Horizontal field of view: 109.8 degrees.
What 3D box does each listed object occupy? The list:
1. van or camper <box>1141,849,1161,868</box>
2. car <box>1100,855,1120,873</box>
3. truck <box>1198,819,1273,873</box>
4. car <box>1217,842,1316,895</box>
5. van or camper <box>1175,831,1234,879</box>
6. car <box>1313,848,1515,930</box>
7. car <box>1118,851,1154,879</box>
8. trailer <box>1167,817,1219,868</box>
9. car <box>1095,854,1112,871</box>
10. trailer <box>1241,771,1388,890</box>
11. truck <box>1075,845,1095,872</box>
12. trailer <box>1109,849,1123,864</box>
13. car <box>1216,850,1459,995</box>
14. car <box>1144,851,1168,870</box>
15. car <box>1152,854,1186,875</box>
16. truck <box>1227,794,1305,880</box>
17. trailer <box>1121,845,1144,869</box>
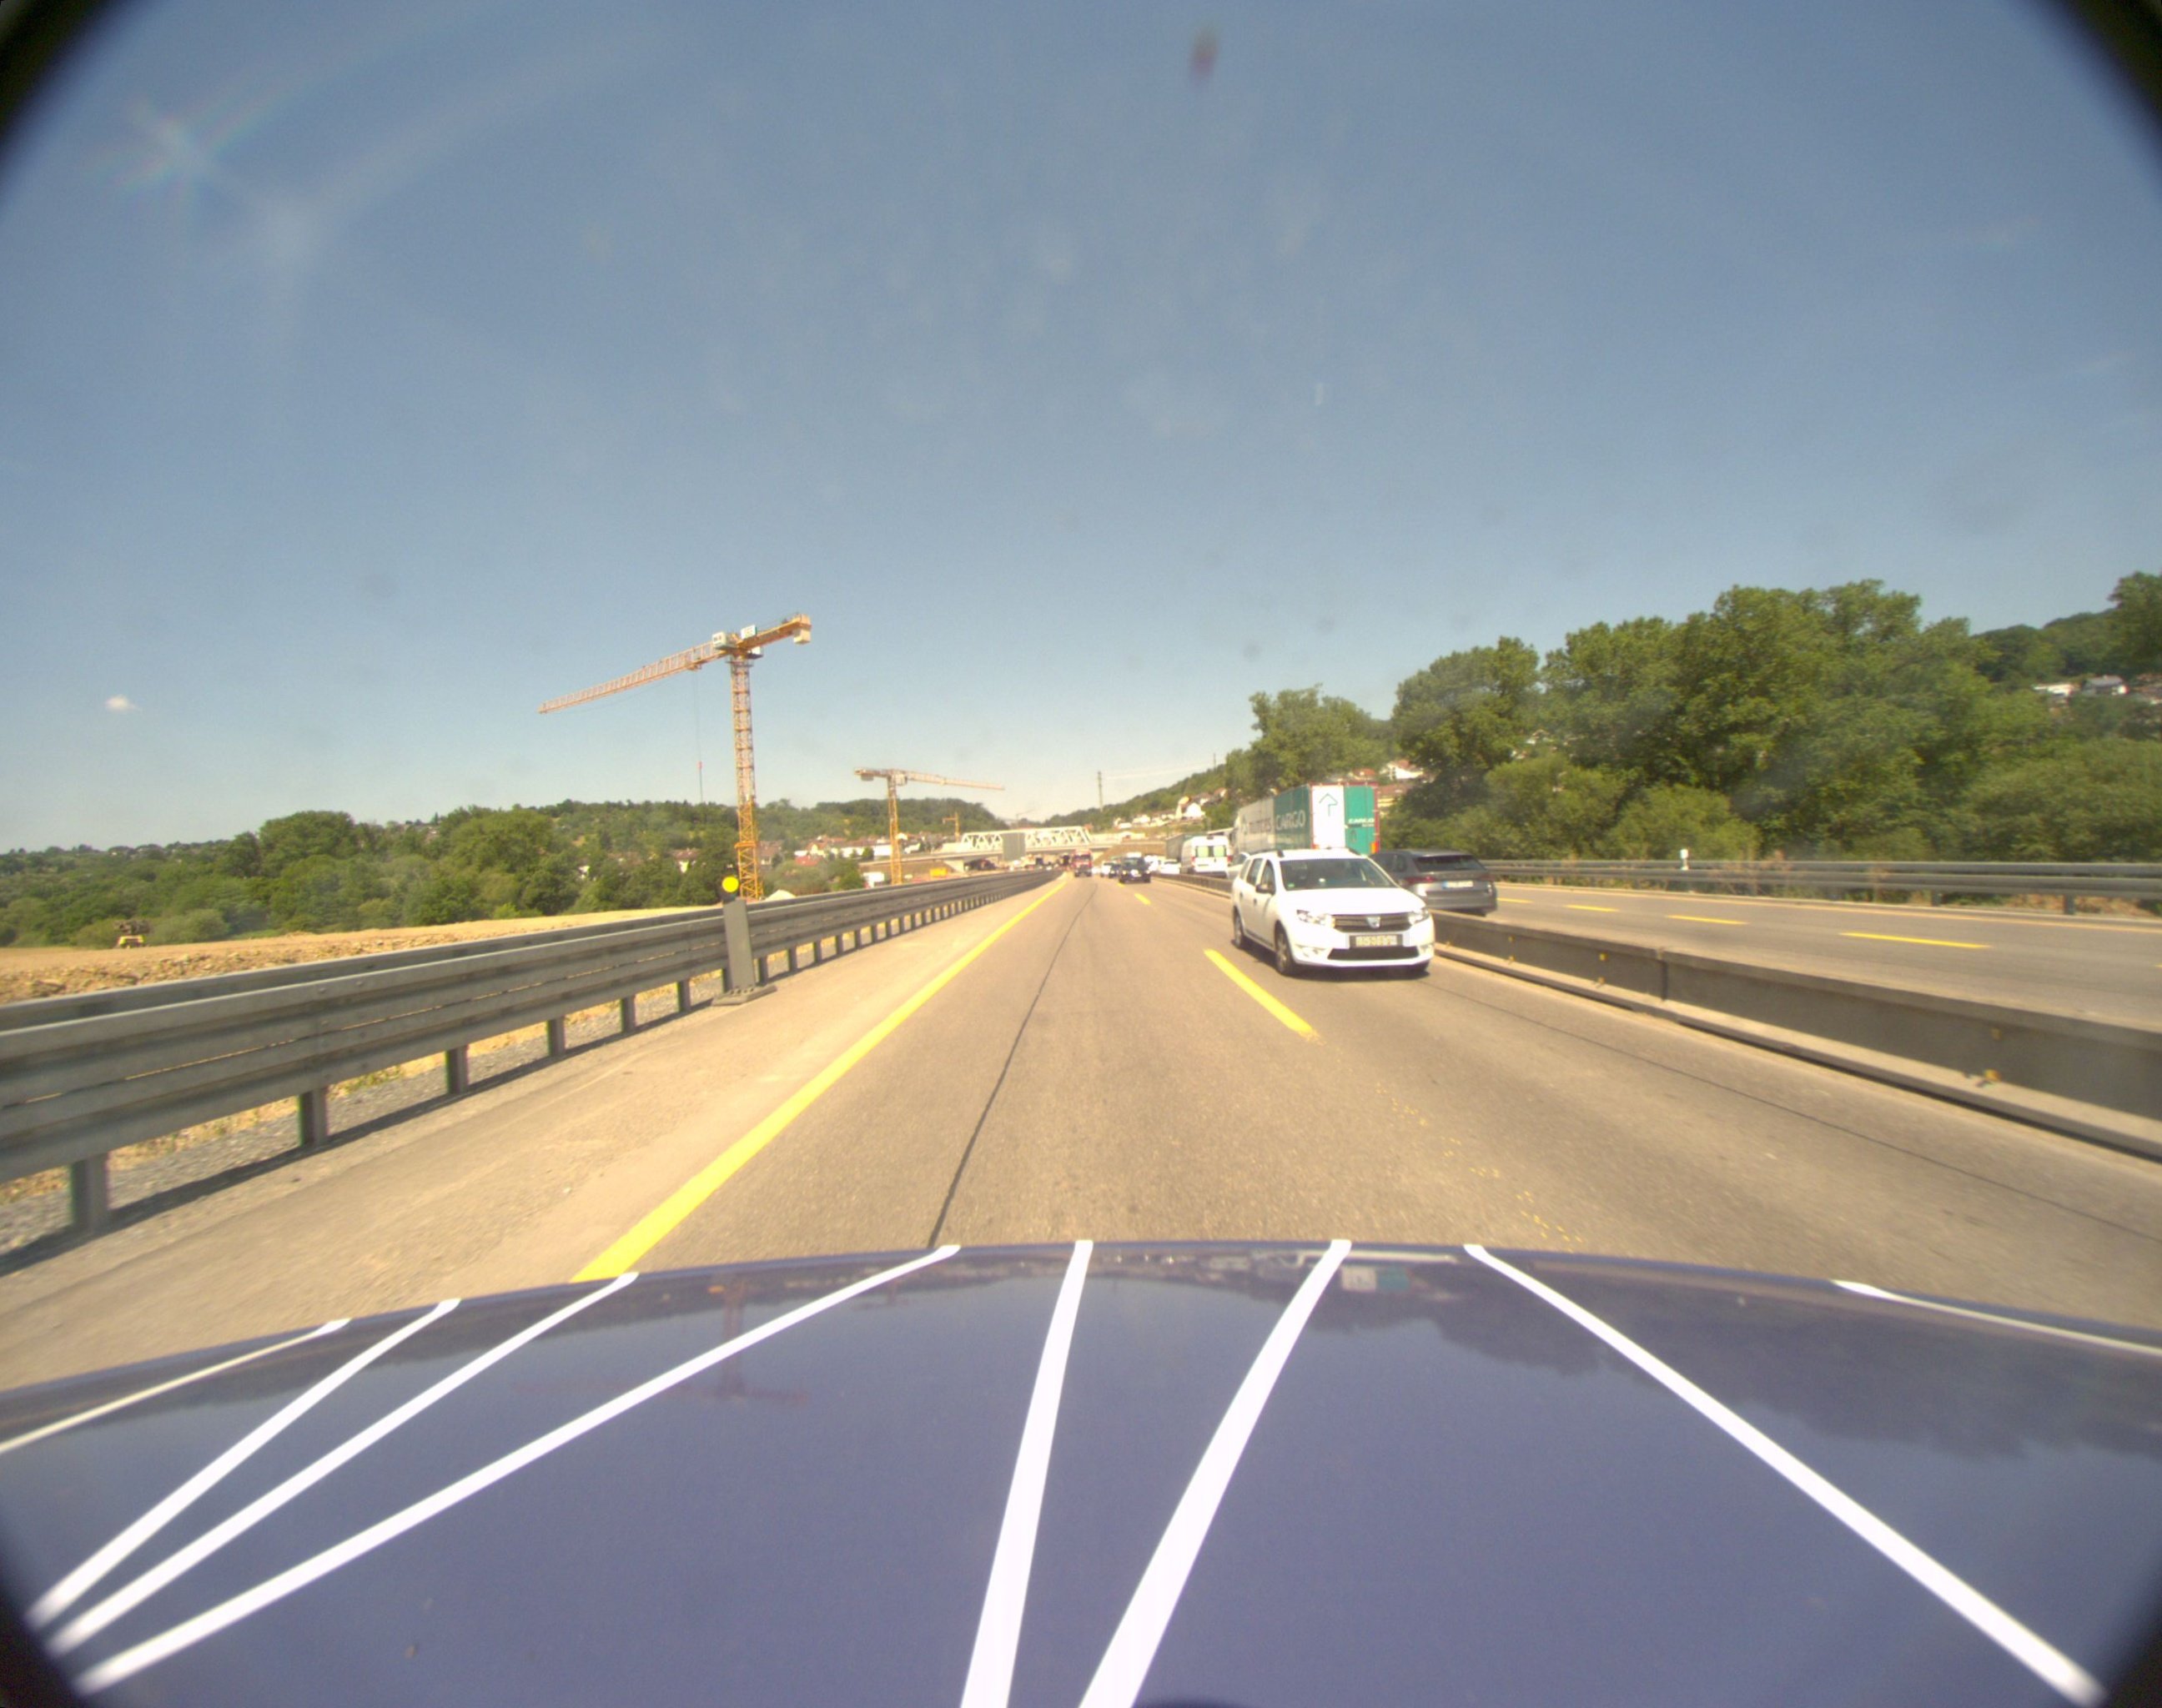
[{"bbox_3d":[10.497,0.719,114.917,2.510,2.682,5.244,-2,-1,1],"label":"van or camper"},{"bbox_3d":[2.824,0.992,74.620,1.791,1.578,4.001,-4,-1,1],"label":"car"},{"bbox_3d":[11.686,-0.483,58.418,2.913,3.742,8.363,-3,-1,-8],"label":"truck"},{"bbox_3d":[6.994,0.554,29.375,2.377,1.716,5.782,-3,-1,0],"label":"car"},{"bbox_3d":[6.901,0.097,43.331,2.224,2.496,6.534,-2,-1,0],"label":"van or camper"},{"bbox_3d":[6.519,0.595,15.641,1.887,1.423,5.124,0,0,0],"label":"car"},{"bbox_3d":[3.447,0.687,48.426,1.862,1.682,4.097,-1,0,-2],"label":"car"},{"bbox_3d":[10.640,-0.879,73.680,3.109,4.438,13.021,-1,-1,1],"label":"trailer"},{"bbox_3d":[2.712,1.019,92.236,1.791,1.870,4.001,-4,-1,1],"label":"car"},{"bbox_3d":[10.119,-0.876,35.005,2.822,4.404,13.168,-1,0,1],"label":"trailer"},{"bbox_3d":[0.622,0.602,110.862,2.702,3.704,8.508,-2,0,1],"label":"truck"},{"bbox_3d":[8.725,0.676,191.102,2.801,3.651,8.955,0,0,-1],"label":"trailer"},{"bbox_3d":[3.194,0.769,10.571,1.823,1.521,4.707,-2,-1,1],"label":"car"},{"bbox_3d":[7.038,0.618,71.805,1.761,1.636,4.156,-4,-1,0],"label":"car"},{"bbox_3d":[6.856,0.820,59.679,1.998,1.489,4.975,-3,-1,0],"label":"car"},{"bbox_3d":[10.215,-0.834,42.621,2.813,4.366,6.226,-2,-1,1],"label":"truck"},{"bbox_3d":[9.857,0.680,146.768,2.814,4.151,11.796,-2,-1,-4],"label":"trailer"}]
